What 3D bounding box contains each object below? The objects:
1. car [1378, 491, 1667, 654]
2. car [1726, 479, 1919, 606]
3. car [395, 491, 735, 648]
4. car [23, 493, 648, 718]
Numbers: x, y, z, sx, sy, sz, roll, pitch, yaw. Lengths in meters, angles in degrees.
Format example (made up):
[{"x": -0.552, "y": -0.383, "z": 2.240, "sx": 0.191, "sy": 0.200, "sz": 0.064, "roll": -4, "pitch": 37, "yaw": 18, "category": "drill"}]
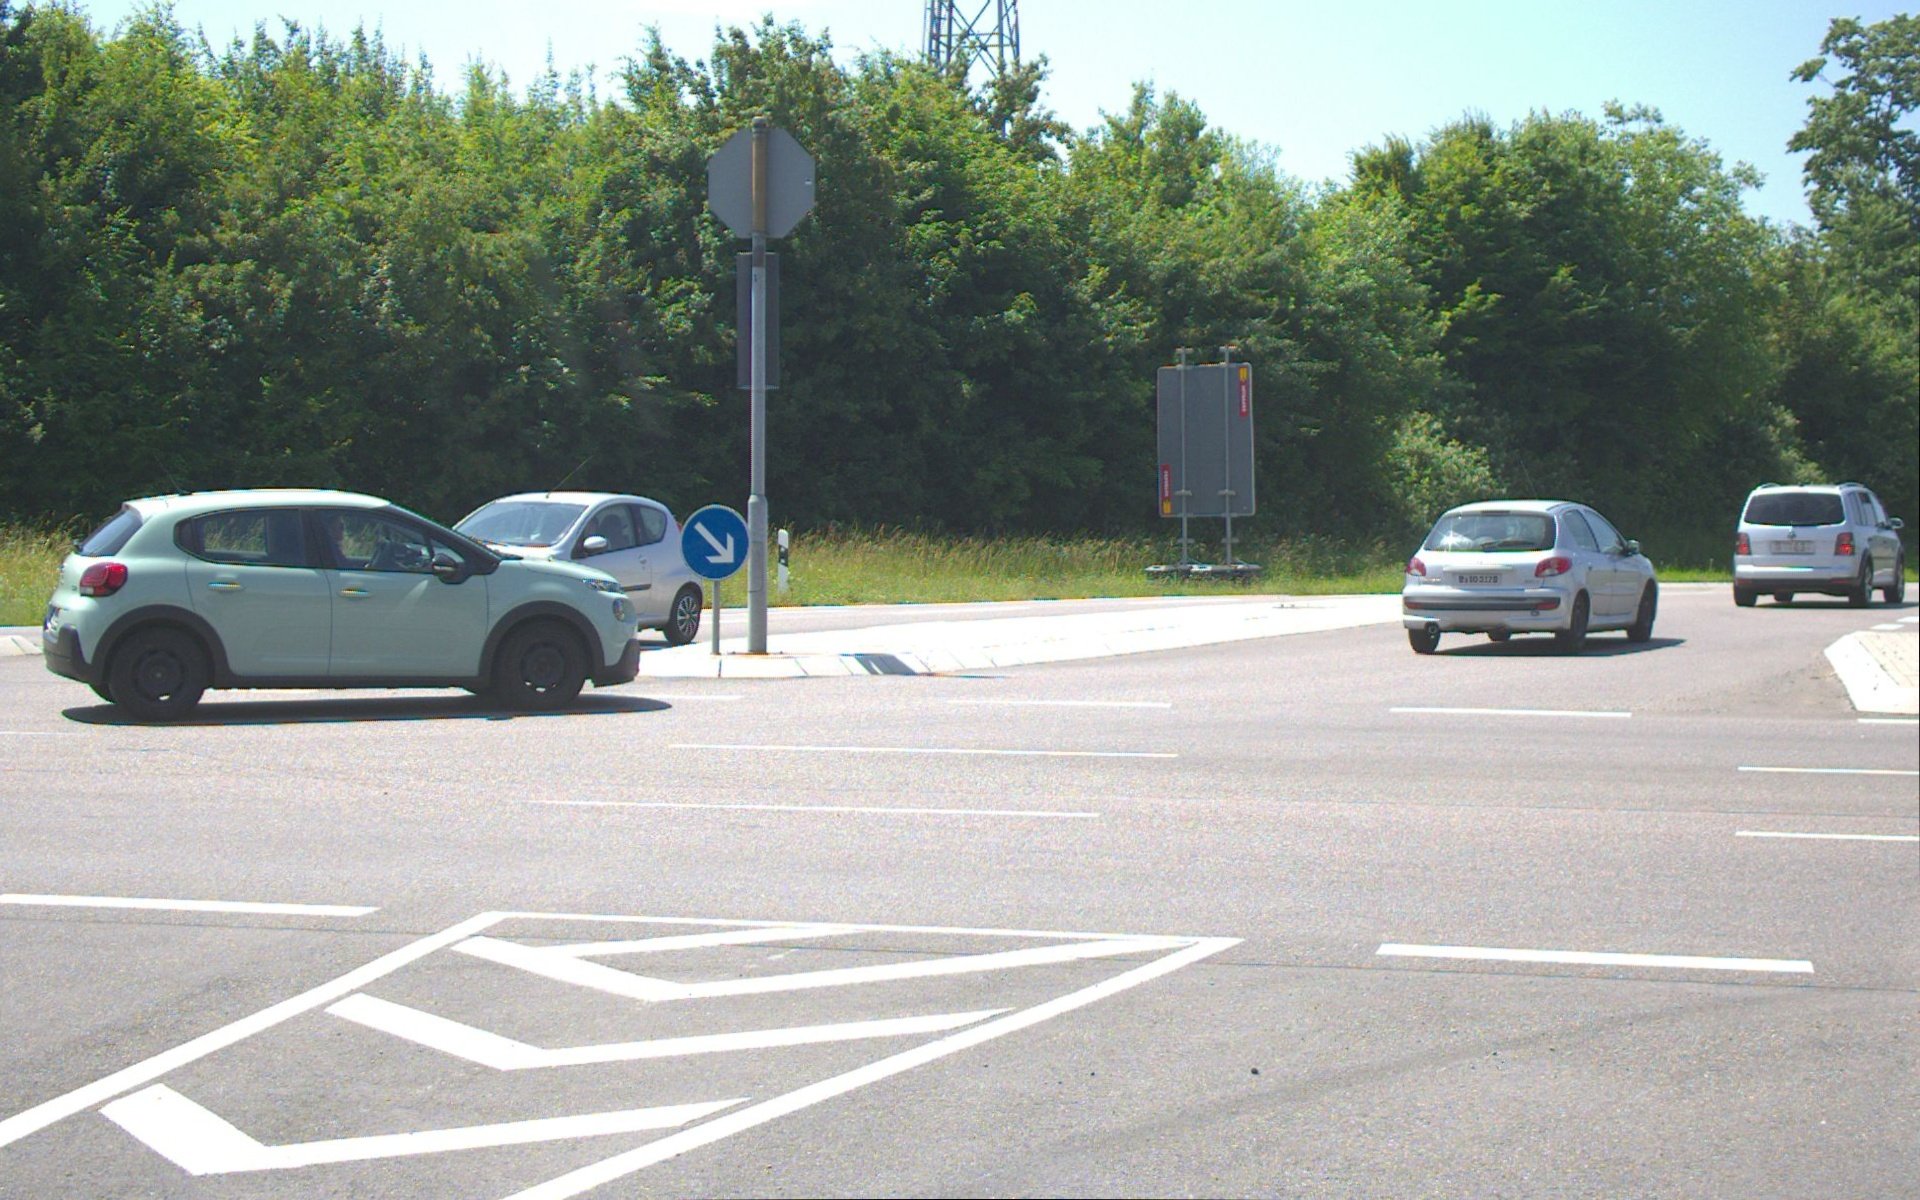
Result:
[{"x": 5.459, "y": -0.313, "z": 33.040, "sx": 1.815, "sy": 1.408, "sz": 3.779, "roll": 1, "pitch": 3, "yaw": 24, "category": "car"}, {"x": 11.868, "y": -0.821, "z": 47.141, "sx": 1.815, "sy": 1.619, "sz": 4.055, "roll": 1, "pitch": 2, "yaw": 25, "category": "car"}, {"x": -3.703, "y": -0.334, "z": 32.759, "sx": 1.567, "sy": 1.366, "sz": 3.526, "roll": 1, "pitch": 3, "yaw": 26, "category": "car"}, {"x": -4.271, "y": -0.010, "z": 23.431, "sx": 3.972, "sy": 1.399, "sz": 1.735, "roll": -1, "pitch": 3, "yaw": -19, "category": "car"}]
